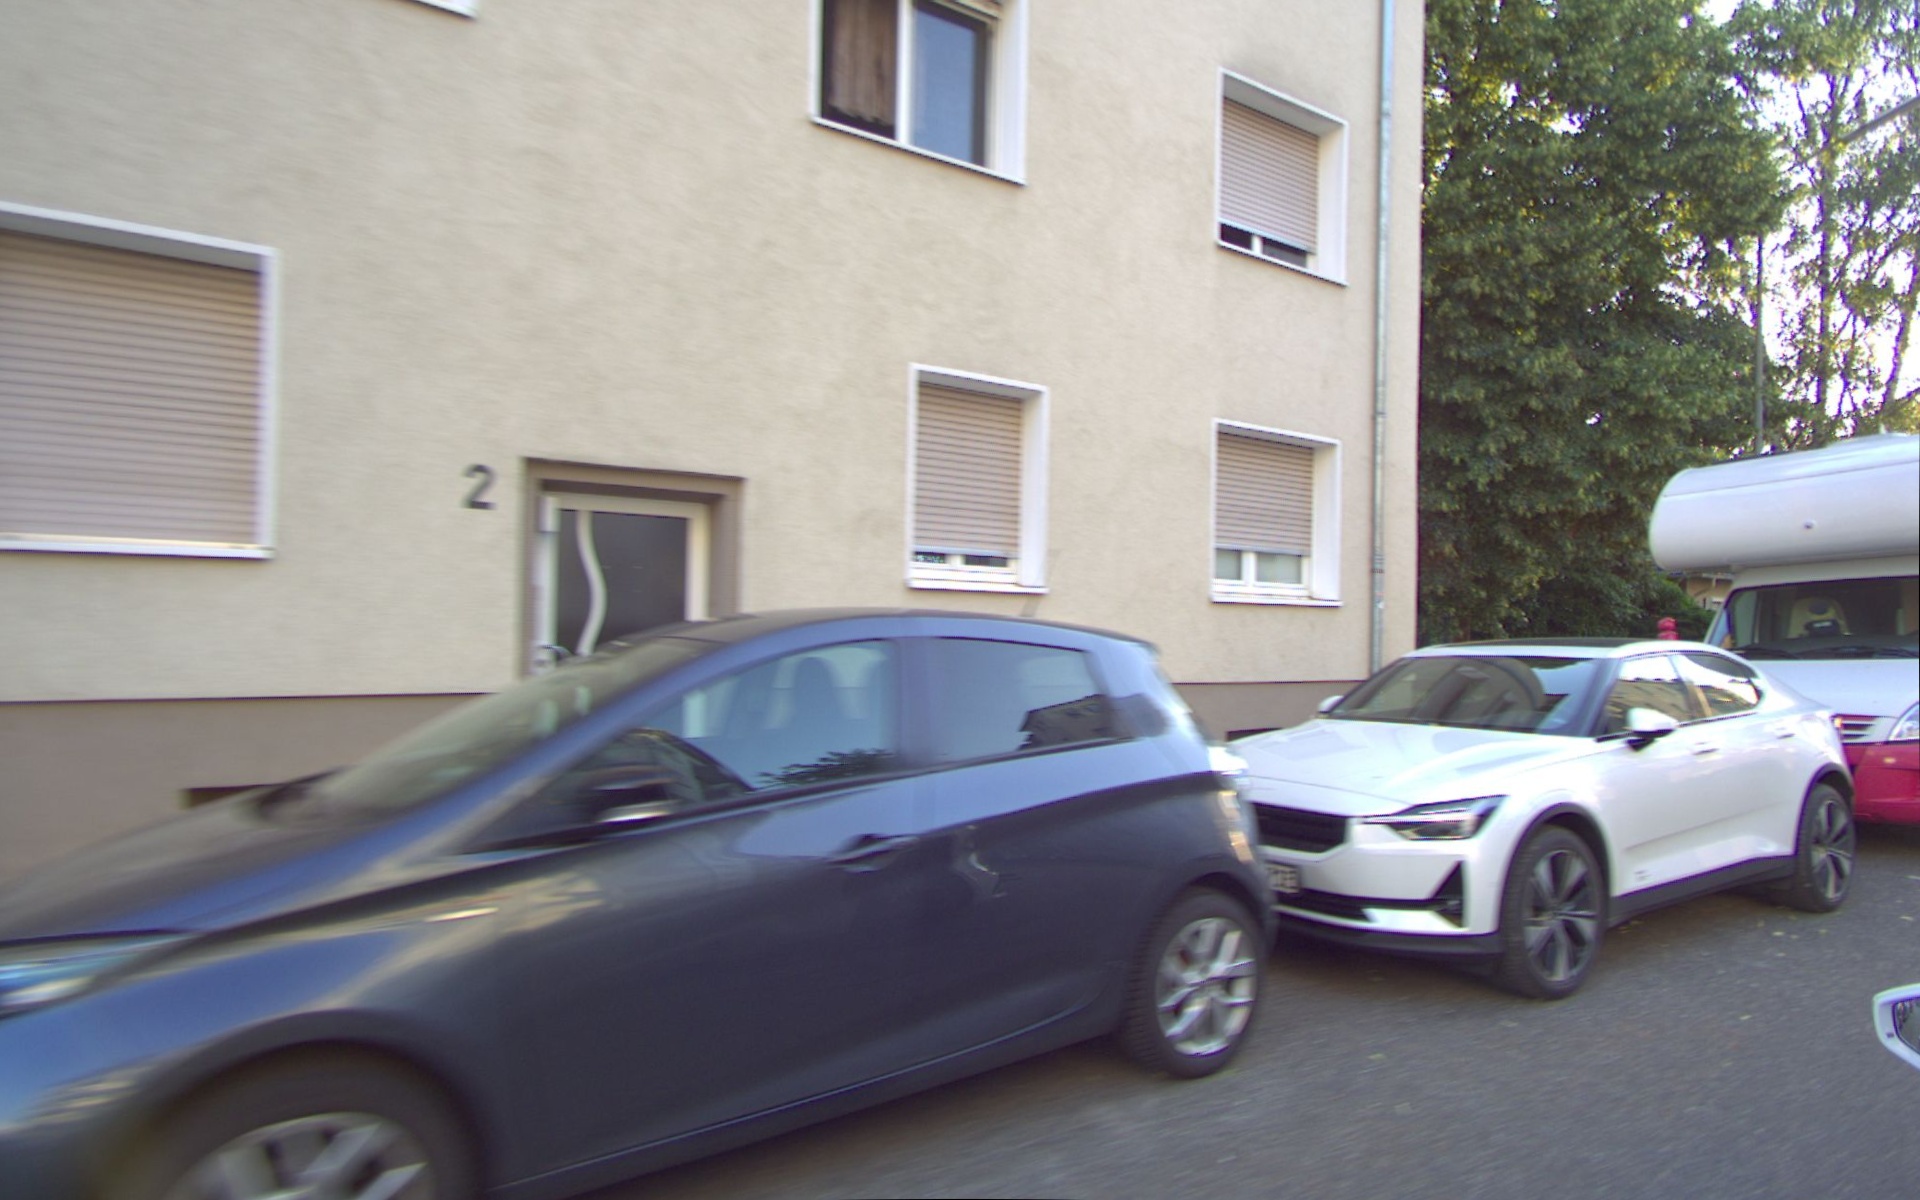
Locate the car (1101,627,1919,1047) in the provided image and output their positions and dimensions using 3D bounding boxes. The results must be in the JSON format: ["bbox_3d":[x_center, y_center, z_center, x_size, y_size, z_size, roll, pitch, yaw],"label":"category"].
[{"bbox_3d":[3.291,0.979,5.704,4.854,1.495,1.898,2,-4,-31],"label":"car"}]

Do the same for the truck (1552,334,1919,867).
[{"bbox_3d":[9.022,0.202,9.325,7.925,3.396,2.514,2,-4,-31],"label":"truck"}]

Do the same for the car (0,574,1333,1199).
[{"bbox_3d":[-0.793,0.820,3.308,4.025,1.554,1.780,2,-3,-33],"label":"car"}]
